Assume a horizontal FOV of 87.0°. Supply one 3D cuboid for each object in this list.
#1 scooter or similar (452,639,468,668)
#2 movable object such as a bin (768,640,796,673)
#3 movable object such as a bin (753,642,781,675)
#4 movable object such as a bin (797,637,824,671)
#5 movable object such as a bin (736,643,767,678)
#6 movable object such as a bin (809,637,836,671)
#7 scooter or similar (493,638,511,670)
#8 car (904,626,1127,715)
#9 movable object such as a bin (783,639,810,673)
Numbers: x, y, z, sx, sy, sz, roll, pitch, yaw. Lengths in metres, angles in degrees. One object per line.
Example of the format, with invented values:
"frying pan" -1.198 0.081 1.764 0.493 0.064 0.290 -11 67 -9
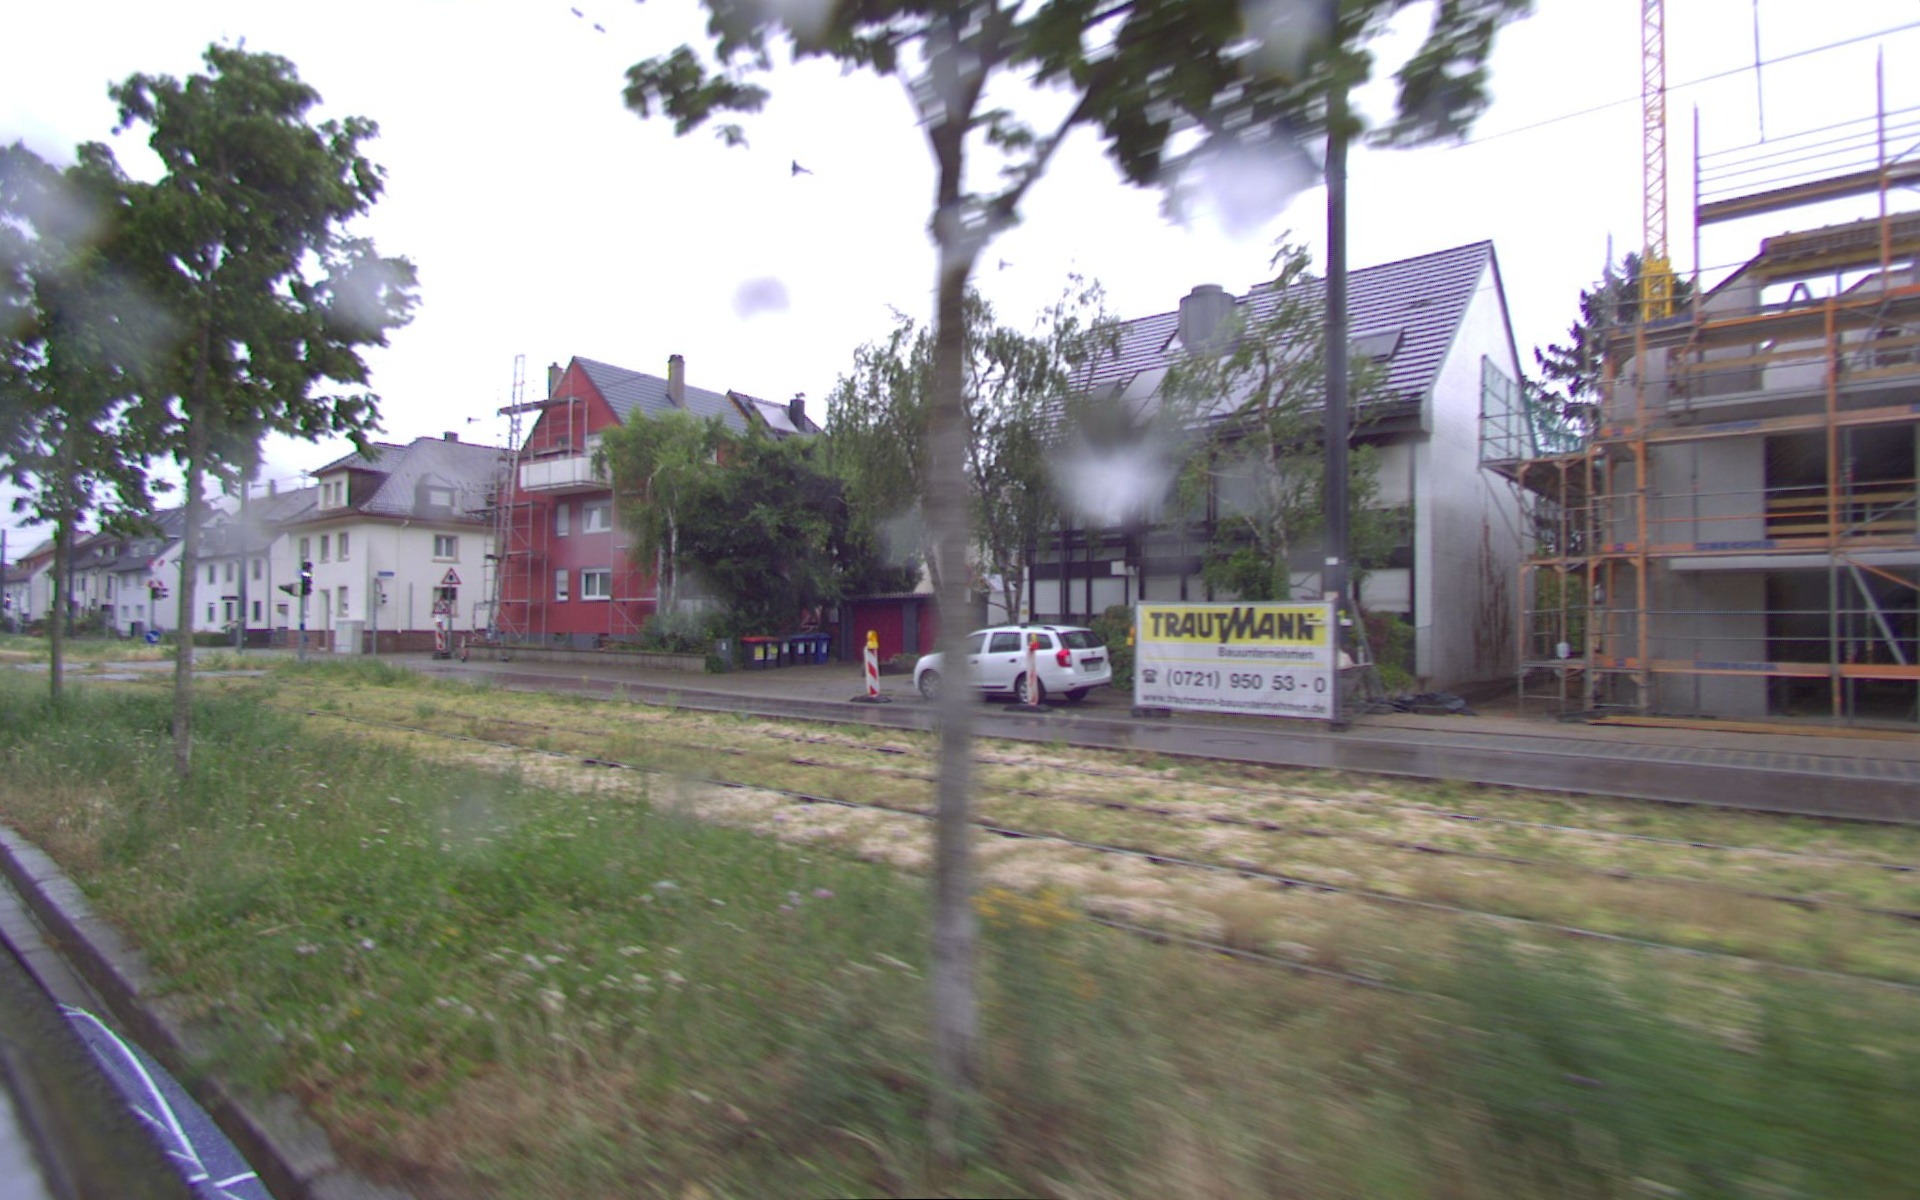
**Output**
"scooter or similar" -20.192 2.164 40.888 0.434 1.138 1.287 1 -2 -20
"movable object such as a bin" -5.960 1.885 33.852 0.757 1.090 0.554 -2 -3 41
"movable object such as a bin" -6.374 1.922 33.365 0.757 1.090 0.554 -2 -3 41
"movable object such as a bin" -5.160 1.849 34.880 0.757 1.147 0.554 -2 -3 41
"movable object such as a bin" -6.772 1.948 32.880 0.757 1.099 0.637 -2 -3 40
"movable object such as a bin" -4.792 1.882 35.324 0.757 1.147 0.554 -2 -3 41
"scooter or similar" -17.720 2.068 39.137 0.388 1.189 1.286 1 -2 -35
"car" 1.035 1.345 20.505 4.421 1.554 1.692 -2 0 42
"movable object such as a bin" -5.563 1.901 34.374 0.757 1.147 0.554 -2 -3 41
